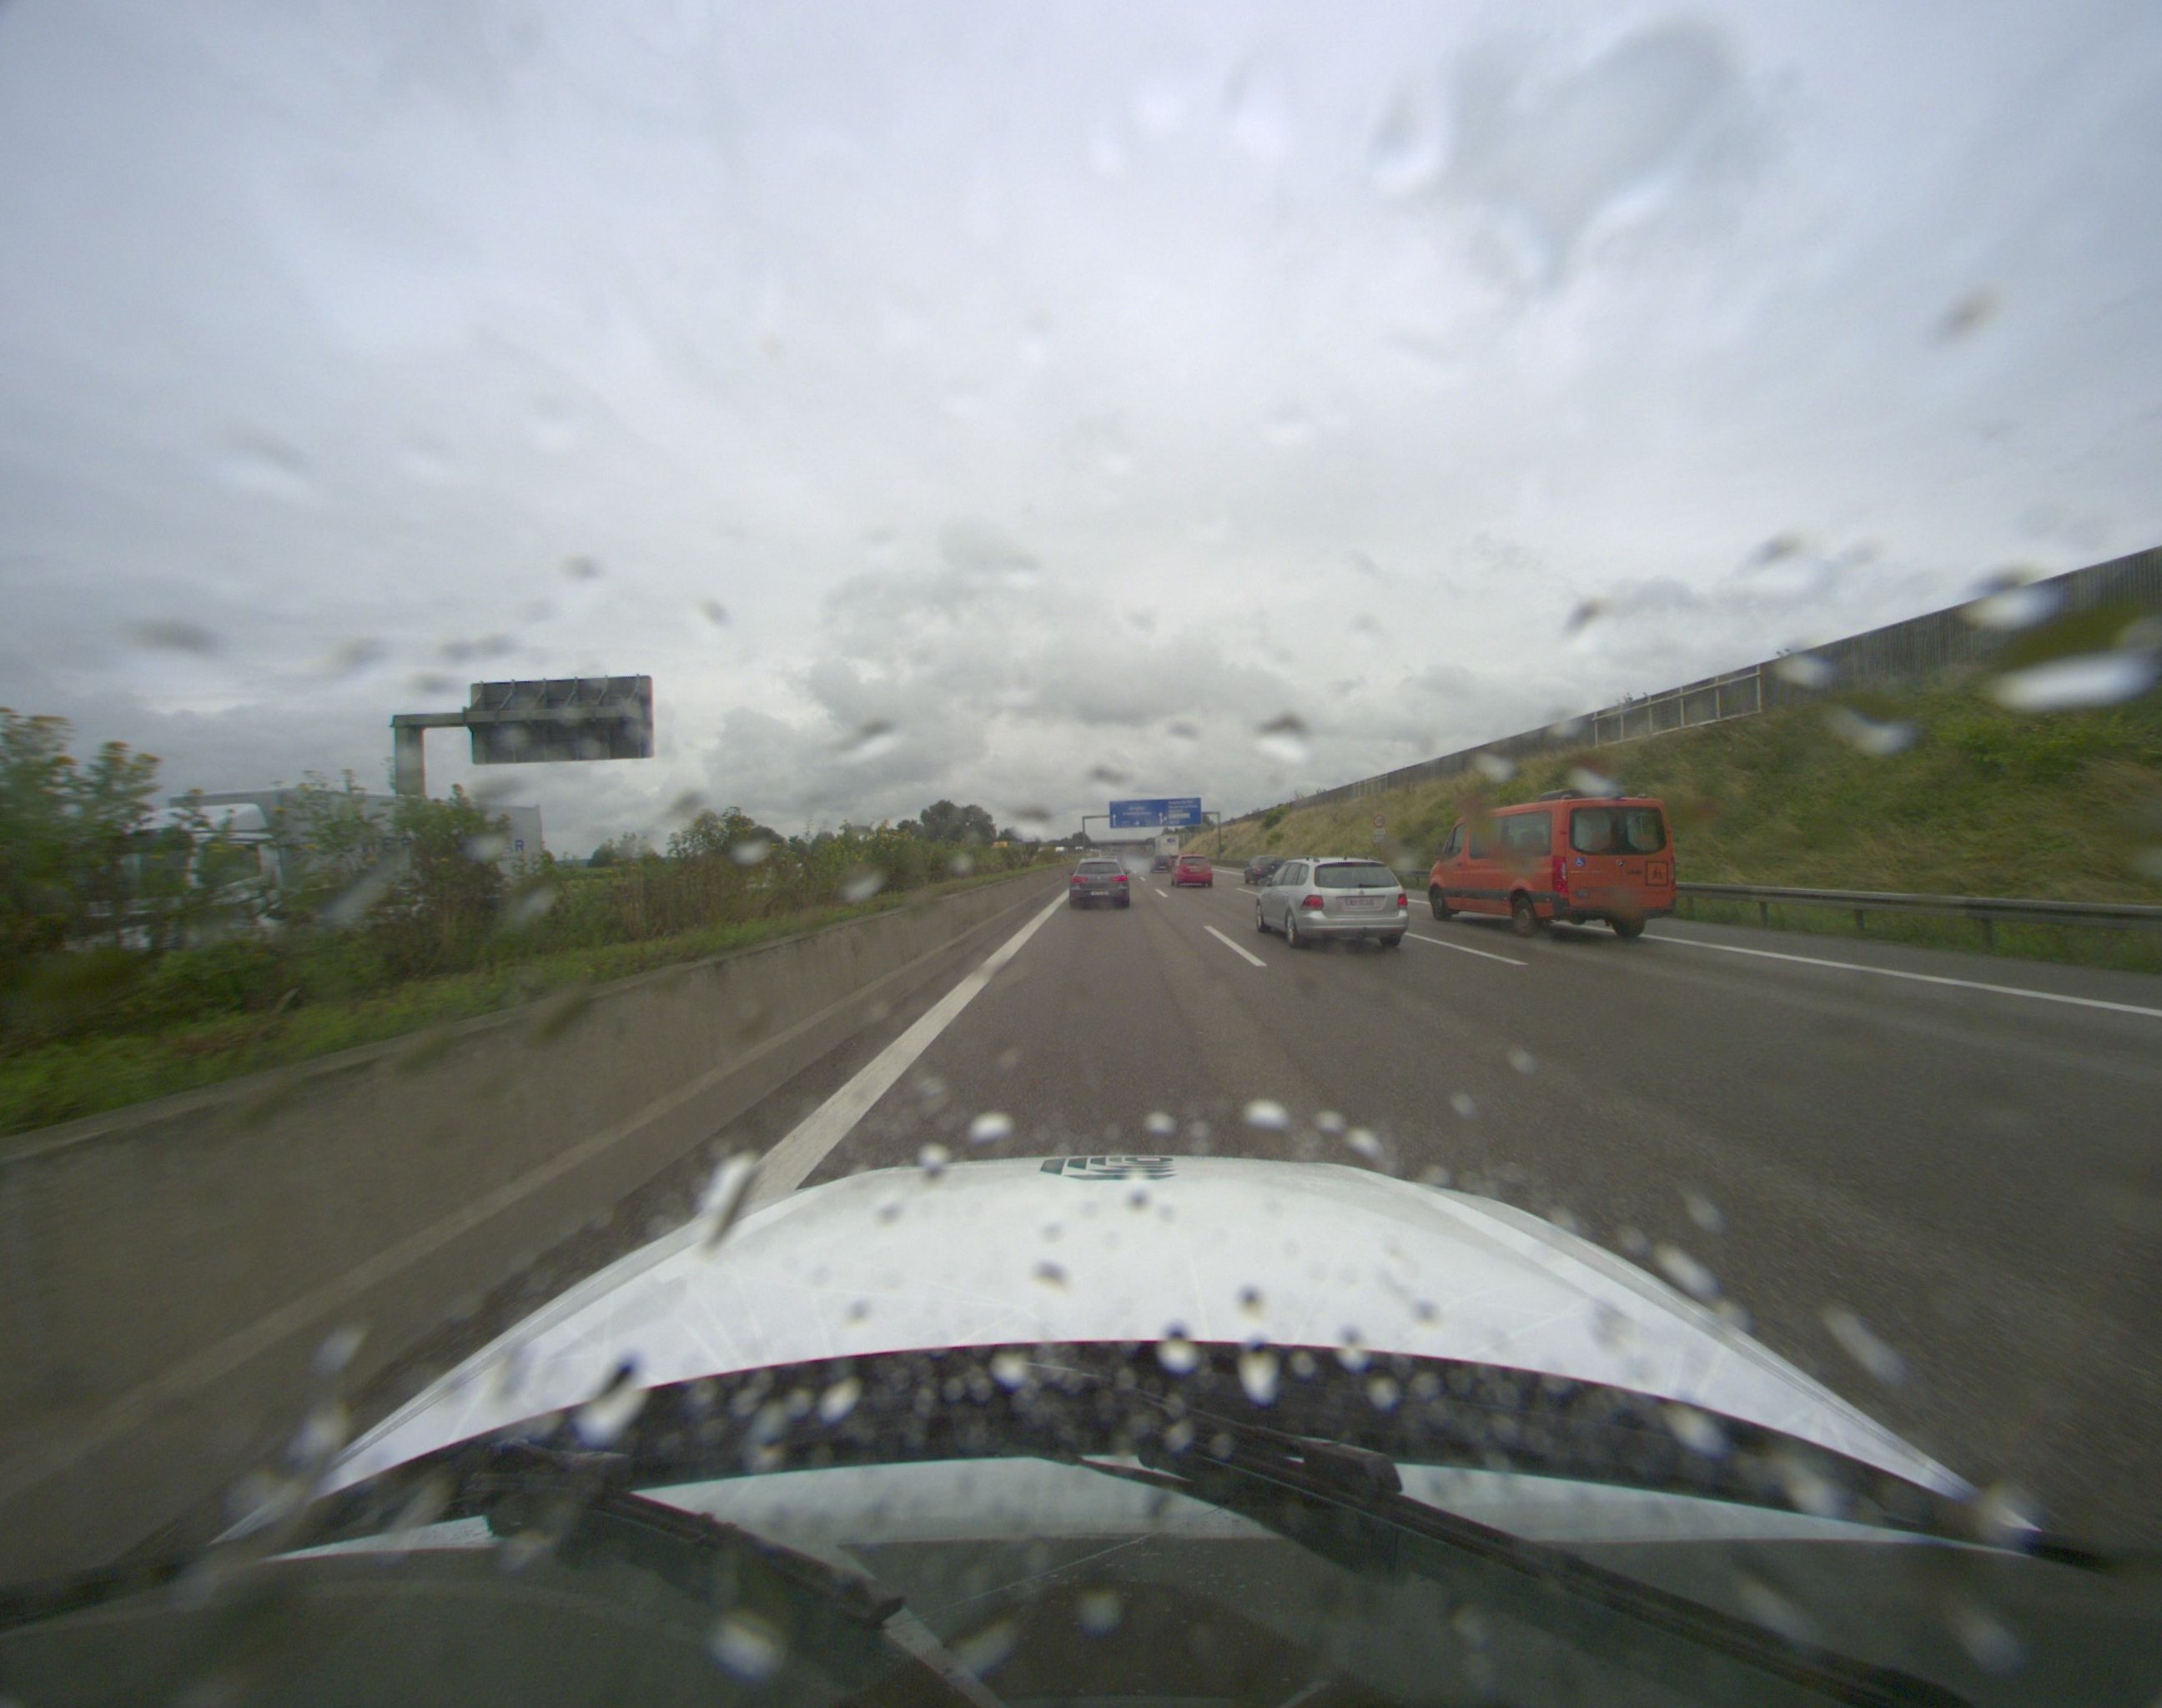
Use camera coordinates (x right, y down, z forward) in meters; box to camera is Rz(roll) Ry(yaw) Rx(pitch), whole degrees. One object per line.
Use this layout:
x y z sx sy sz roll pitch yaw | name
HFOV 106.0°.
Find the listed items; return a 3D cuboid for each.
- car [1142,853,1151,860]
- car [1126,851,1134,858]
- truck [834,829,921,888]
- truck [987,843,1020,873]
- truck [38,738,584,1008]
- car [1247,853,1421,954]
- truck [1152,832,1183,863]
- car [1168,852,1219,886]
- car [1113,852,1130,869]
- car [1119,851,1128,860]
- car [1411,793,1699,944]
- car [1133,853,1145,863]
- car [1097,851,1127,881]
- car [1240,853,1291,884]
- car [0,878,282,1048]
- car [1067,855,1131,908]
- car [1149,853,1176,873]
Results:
17.919 0.731 223.257 1.987 1.860 4.390 -1 0 0 | car
13.791 0.113 229.474 1.987 2.013 3.999 -2 0 -1 | car
-14.837 0.345 60.610 3.170 3.967 10.819 0 0 3 | truck
-11.749 0.558 124.417 3.399 4.364 10.998 0 0 3 | truck
-16.275 0.365 18.924 3.213 4.649 9.678 0 0 2 | truck
4.169 0.726 14.204 1.735 1.425 4.519 -2 0 2 | car
12.906 -0.782 123.237 3.271 4.295 19.039 0 0 2 | truck
5.228 0.660 38.508 1.884 1.446 4.687 -1 0 2 | car
4.583 0.758 91.638 1.698 1.796 3.856 -3 0 1 | car
9.733 0.428 186.564 1.985 2.014 4.244 0 0 3 | car
8.680 0.222 15.852 2.078 2.315 6.183 -1 0 1 | car
9.919 0.659 140.528 1.839 1.687 4.000 0 0 1 | car
1.863 0.705 48.792 1.747 1.750 4.002 0 0 2 | car
8.777 0.686 38.978 1.696 1.401 3.877 0 0 2 | car
-12.374 1.205 9.282 1.985 1.696 4.466 -1 0 3 | car
0.541 0.772 24.376 1.762 1.467 4.001 0 0 1 | car
6.560 0.726 66.034 1.913 1.522 4.624 -1 0 2 | car
